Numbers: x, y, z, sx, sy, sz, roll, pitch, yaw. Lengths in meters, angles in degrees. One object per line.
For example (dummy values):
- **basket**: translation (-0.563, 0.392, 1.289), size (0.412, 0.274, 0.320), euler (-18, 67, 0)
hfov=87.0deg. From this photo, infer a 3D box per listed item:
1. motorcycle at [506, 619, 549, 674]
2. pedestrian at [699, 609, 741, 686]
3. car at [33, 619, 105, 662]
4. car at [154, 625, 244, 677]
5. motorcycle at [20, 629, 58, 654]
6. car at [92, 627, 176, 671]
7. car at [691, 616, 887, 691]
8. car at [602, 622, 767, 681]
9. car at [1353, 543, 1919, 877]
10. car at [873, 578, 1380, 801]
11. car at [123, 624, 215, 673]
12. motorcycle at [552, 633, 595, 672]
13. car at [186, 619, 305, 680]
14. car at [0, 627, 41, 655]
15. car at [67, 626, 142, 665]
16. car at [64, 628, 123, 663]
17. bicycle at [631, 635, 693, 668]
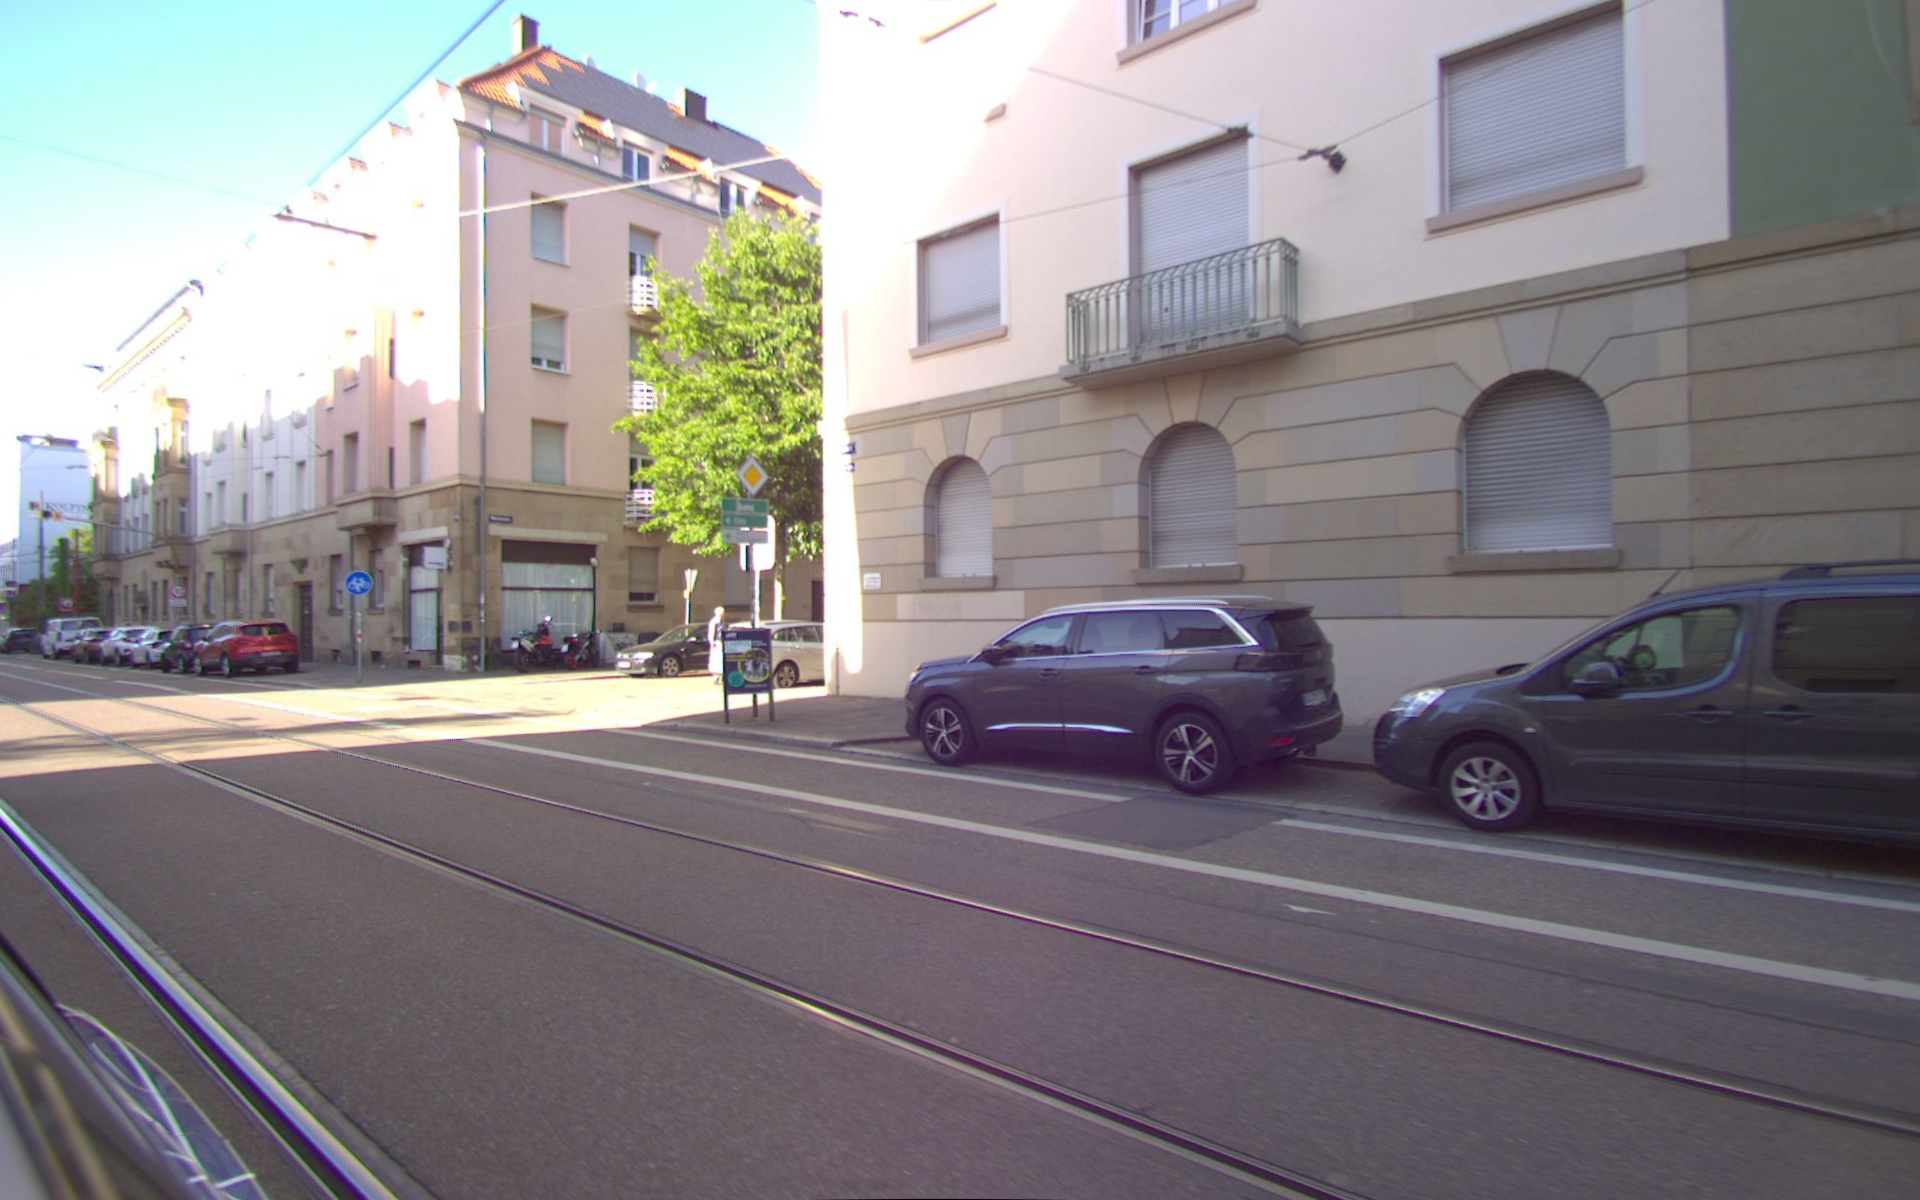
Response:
- **motorcycle**: translation (-11.954, 1.254, 28.022), size (0.934, 1.429, 2.032), euler (0, -1, -19)
- **pedestrian**: translation (-5.474, 1.066, 23.067), size (0.731, 1.725, 0.600), euler (-2, -1, 41)
- **car**: translation (-44.625, 1.999, 50.652), size (5.248, 1.963, 1.953), euler (-2, 1, 40)
- **car**: translation (-25.074, 1.640, 33.329), size (3.018, 1.564, 1.765), euler (-2, 1, 41)
- **motorcycle**: translation (-53.291, 2.410, 58.597), size (0.871, 1.361, 1.963), euler (-1, 0, -17)
- **car**: translation (-33.132, 1.927, 40.541), size (4.361, 1.558, 1.754), euler (-2, 1, 39)
- **car**: translation (-3.759, 1.158, 22.824), size (1.781, 1.476, 4.174), euler (-3, -2, 40)
- **car**: translation (-7.272, 1.336, 26.965), size (1.746, 1.405, 3.946), euler (-3, -2, 40)
- **car**: translation (5.232, 0.590, 6.726), size (4.527, 1.829, 1.764), euler (-2, 1, 42)
- **car**: translation (1.453, 0.727, 10.016), size (4.663, 1.703, 1.766), euler (-2, 1, 39)
- **car**: translation (-29.064, 1.737, 37.139), size (4.175, 1.634, 1.766), euler (-2, 1, 39)
- **motorcycle**: translation (-11.047, 1.495, 29.009), size (0.549, 1.043, 2.037), euler (-1, -1, -3)
- **car**: translation (-21.386, 1.442, 30.228), size (4.393, 1.618, 1.766), euler (-2, 1, 39)
- **car**: translation (-58.460, 2.494, 62.790), size (4.610, 1.577, 1.764), euler (-2, 1, 43)
- **car**: translation (-37.151, 1.956, 43.922), size (4.357, 1.535, 1.765), euler (-2, 1, 40)
- **car**: translation (-40.548, 2.112, 47.340), size (3.644, 1.484, 1.586), euler (-2, 1, 41)
- **bicycle**: translation (-9.196, 1.571, 31.257), size (1.763, 0.940, 0.615), euler (0, -1, -41)
